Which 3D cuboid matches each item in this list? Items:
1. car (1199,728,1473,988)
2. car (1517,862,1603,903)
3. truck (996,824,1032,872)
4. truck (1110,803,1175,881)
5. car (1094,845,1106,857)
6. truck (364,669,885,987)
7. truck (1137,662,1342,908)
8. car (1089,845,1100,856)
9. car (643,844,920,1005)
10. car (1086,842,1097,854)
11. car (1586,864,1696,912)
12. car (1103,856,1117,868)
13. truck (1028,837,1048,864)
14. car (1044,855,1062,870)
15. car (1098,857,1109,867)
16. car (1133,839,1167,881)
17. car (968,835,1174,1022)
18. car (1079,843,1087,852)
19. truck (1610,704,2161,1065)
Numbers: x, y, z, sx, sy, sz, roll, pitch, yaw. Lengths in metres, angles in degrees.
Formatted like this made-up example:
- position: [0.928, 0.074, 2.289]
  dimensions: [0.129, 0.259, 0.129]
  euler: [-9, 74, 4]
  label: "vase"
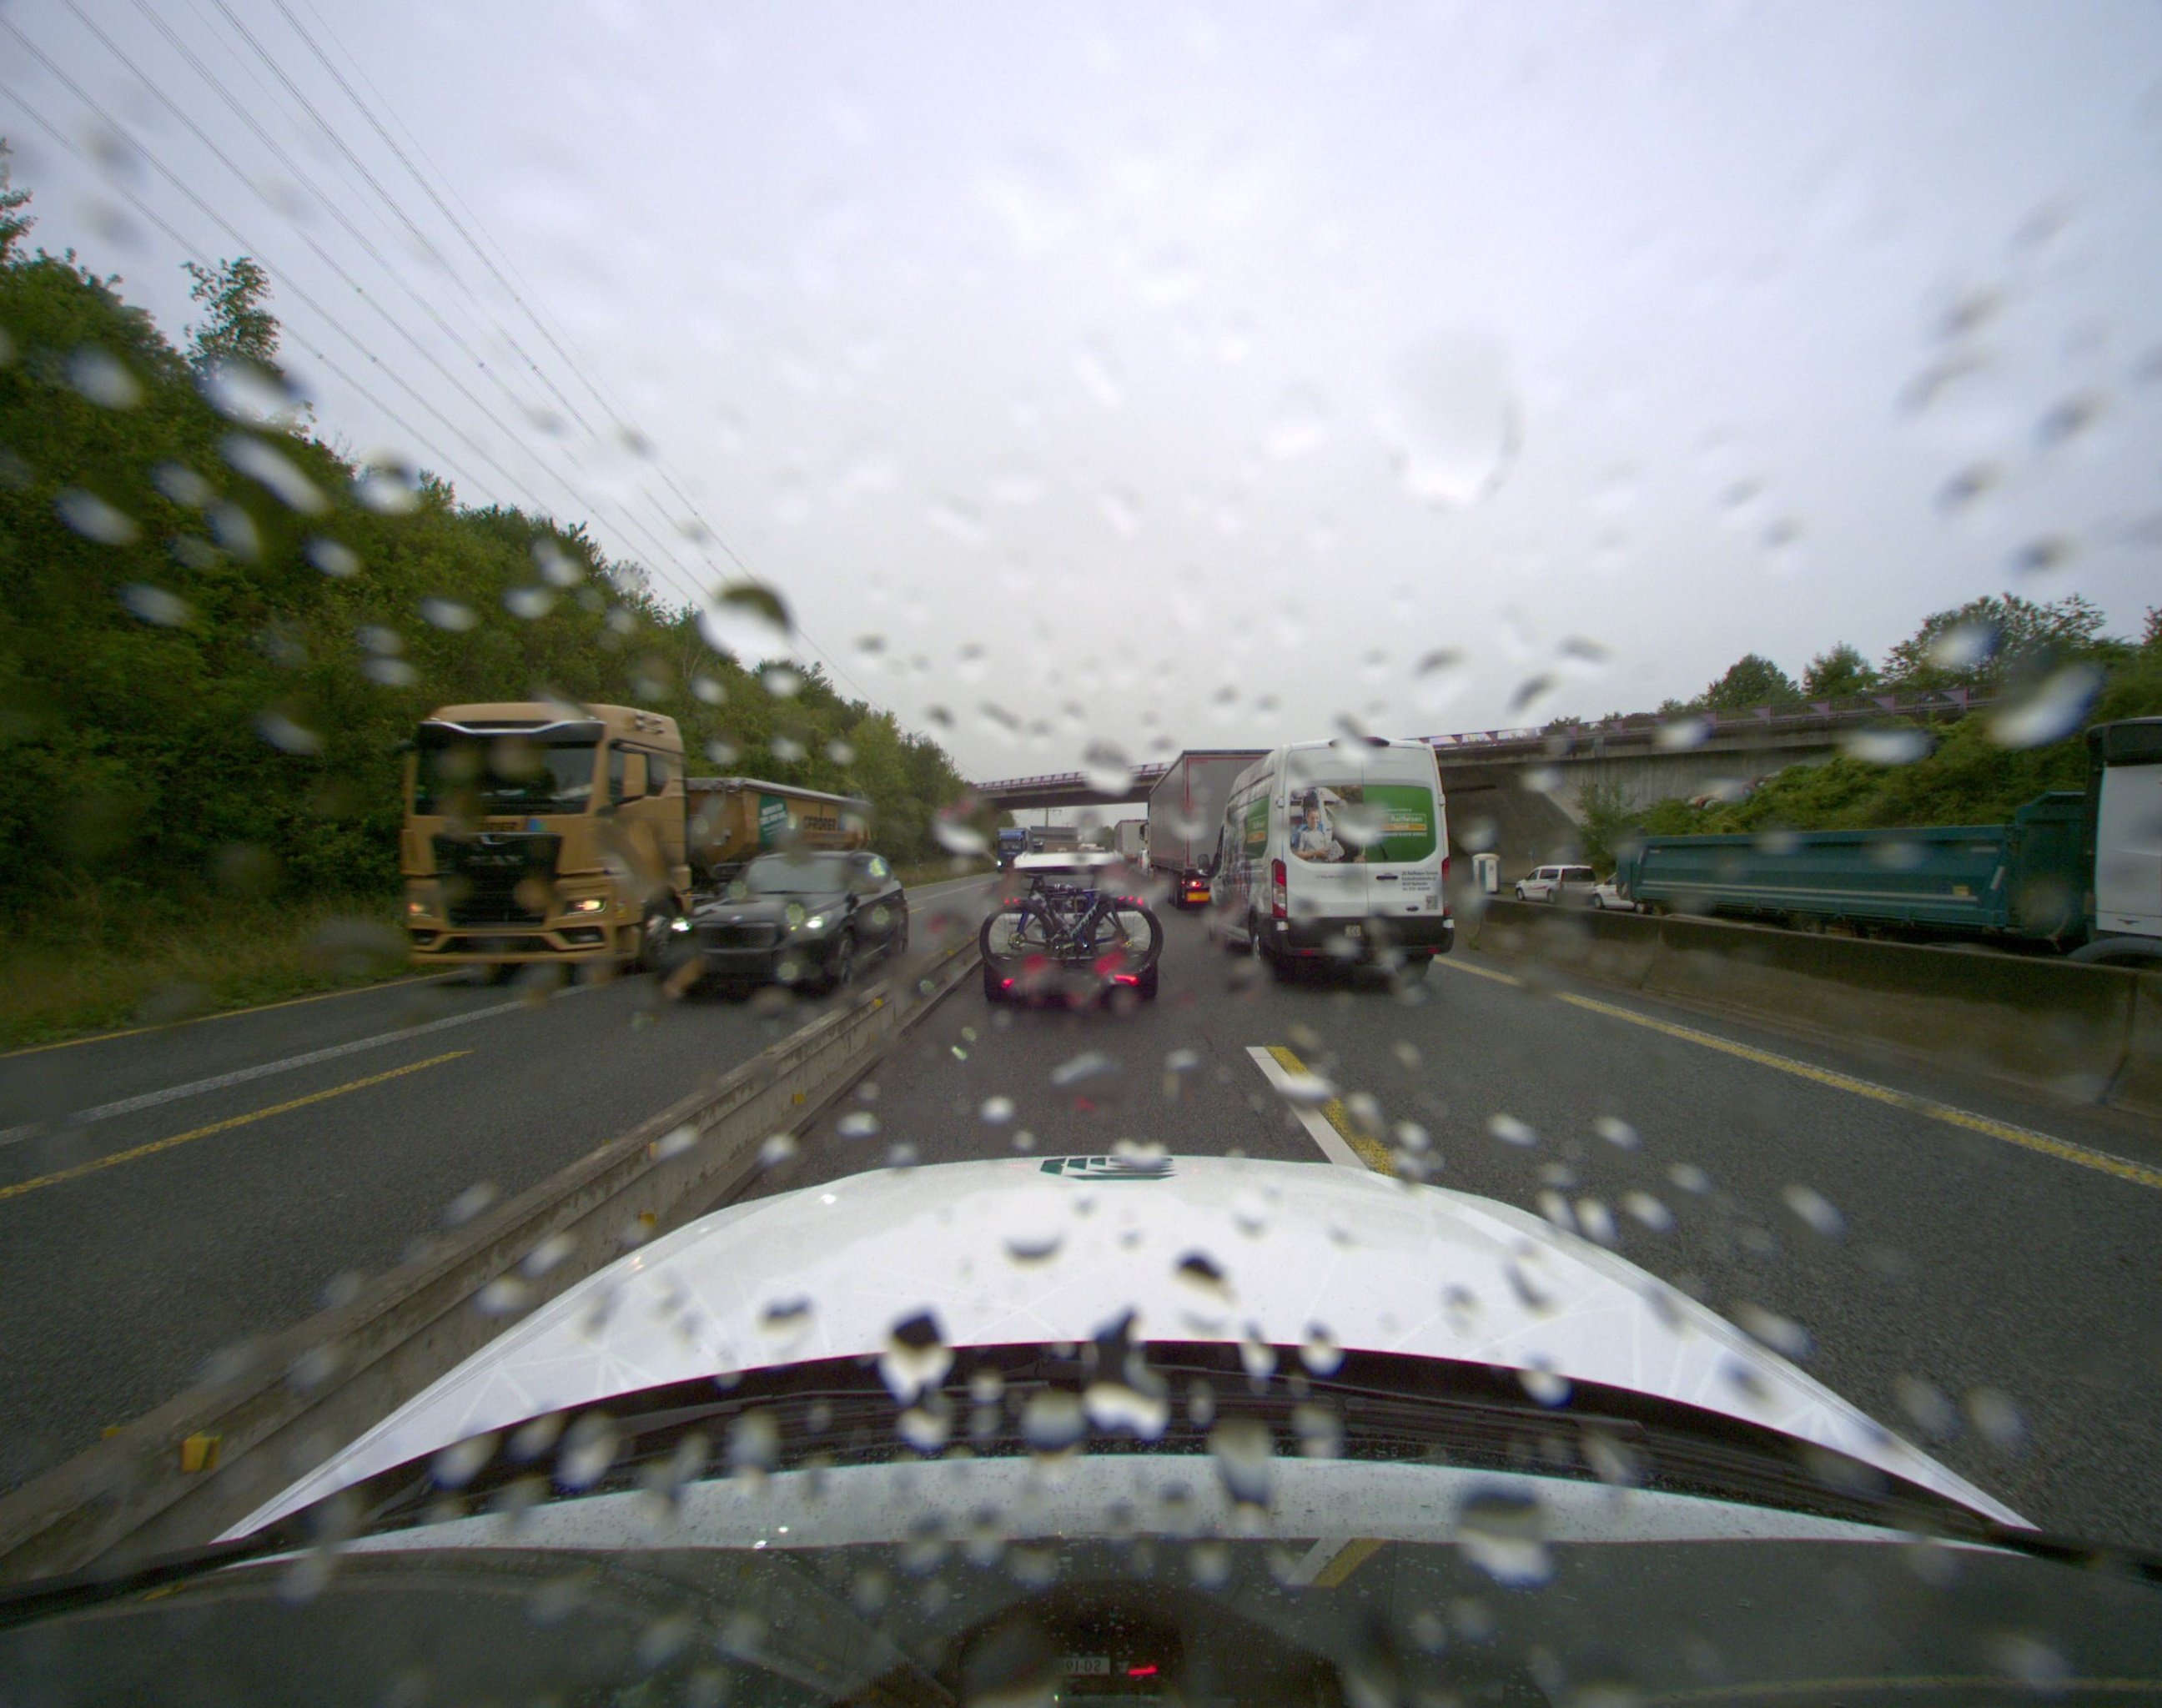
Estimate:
- position: [3.078, 0.061, 11.503]
  dimensions: [2.136, 2.676, 6.120]
  euler: [-1, -1, 2]
  label: "car"
- position: [22.562, 1.304, 38.573]
  dimensions: [1.839, 1.809, 4.161]
  euler: [-1, -1, 4]
  label: "car"
- position: [-6.297, -0.458, 78.534]
  dimensions: [2.759, 4.123, 16.909]
  euler: [-1, 0, -3]
  label: "truck"
- position: [5.043, -0.822, 69.991]
  dimensions: [4.723, 5.673, 20.389]
  euler: [-1, 0, 3]
  label: "truck"
- position: [3.291, -0.465, 141.026]
  dimensions: [1.987, 2.014, 3.999]
  euler: [-1, -1, 0]
  label: "car"
- position: [-6.794, -0.259, 15.599]
  dimensions: [2.671, 3.656, 12.316]
  euler: [-1, 0, 2]
  label: "truck"
- position: [4.368, -1.526, 29.126]
  dimensions: [3.964, 5.673, 20.383]
  euler: [-1, 0, 2]
  label: "truck"
- position: [2.701, -0.611, 159.243]
  dimensions: [1.986, 2.014, 4.001]
  euler: [-1, -1, 2]
  label: "car"
- position: [-3.444, 0.727, 10.313]
  dimensions: [1.929, 1.607, 4.120]
  euler: [-1, 0, 1]
  label: "car"
- position: [2.292, -1.253, 171.837]
  dimensions: [2.231, 2.307, 4.573]
  euler: [-1, -1, 2]
  label: "car"
- position: [22.196, 1.310, 32.485]
  dimensions: [1.721, 1.745, 4.128]
  euler: [-1, -1, 4]
  label: "car"
- position: [3.582, 0.963, 100.200]
  dimensions: [1.632, 1.497, 3.667]
  euler: [-1, 0, 2]
  label: "car"
- position: [-6.715, -0.500, 128.463]
  dimensions: [2.456, 4.123, 10.088]
  euler: [-1, 0, 0]
  label: "truck"
- position: [-3.076, 0.947, 90.604]
  dimensions: [1.777, 1.610, 4.104]
  euler: [-1, 0, 0]
  label: "car"
- position: [3.470, 1.296, 125.664]
  dimensions: [1.632, 1.497, 3.667]
  euler: [-1, 0, 2]
  label: "car"
- position: [3.769, 0.323, 45.045]
  dimensions: [1.663, 2.180, 4.538]
  euler: [-1, -1, 3]
  label: "car"
- position: [0.025, 0.677, 9.490]
  dimensions: [1.803, 1.637, 4.638]
  euler: [-1, 0, 3]
  label: "car"
- position: [0.528, -1.574, 200.722]
  dimensions: [1.986, 2.126, 4.528]
  euler: [-1, -1, 2]
  label: "car"
- position: [10.703, 0.278, 10.122]
  dimensions: [2.511, 3.132, 9.121]
  euler: [-1, 0, 1]
  label: "truck"
